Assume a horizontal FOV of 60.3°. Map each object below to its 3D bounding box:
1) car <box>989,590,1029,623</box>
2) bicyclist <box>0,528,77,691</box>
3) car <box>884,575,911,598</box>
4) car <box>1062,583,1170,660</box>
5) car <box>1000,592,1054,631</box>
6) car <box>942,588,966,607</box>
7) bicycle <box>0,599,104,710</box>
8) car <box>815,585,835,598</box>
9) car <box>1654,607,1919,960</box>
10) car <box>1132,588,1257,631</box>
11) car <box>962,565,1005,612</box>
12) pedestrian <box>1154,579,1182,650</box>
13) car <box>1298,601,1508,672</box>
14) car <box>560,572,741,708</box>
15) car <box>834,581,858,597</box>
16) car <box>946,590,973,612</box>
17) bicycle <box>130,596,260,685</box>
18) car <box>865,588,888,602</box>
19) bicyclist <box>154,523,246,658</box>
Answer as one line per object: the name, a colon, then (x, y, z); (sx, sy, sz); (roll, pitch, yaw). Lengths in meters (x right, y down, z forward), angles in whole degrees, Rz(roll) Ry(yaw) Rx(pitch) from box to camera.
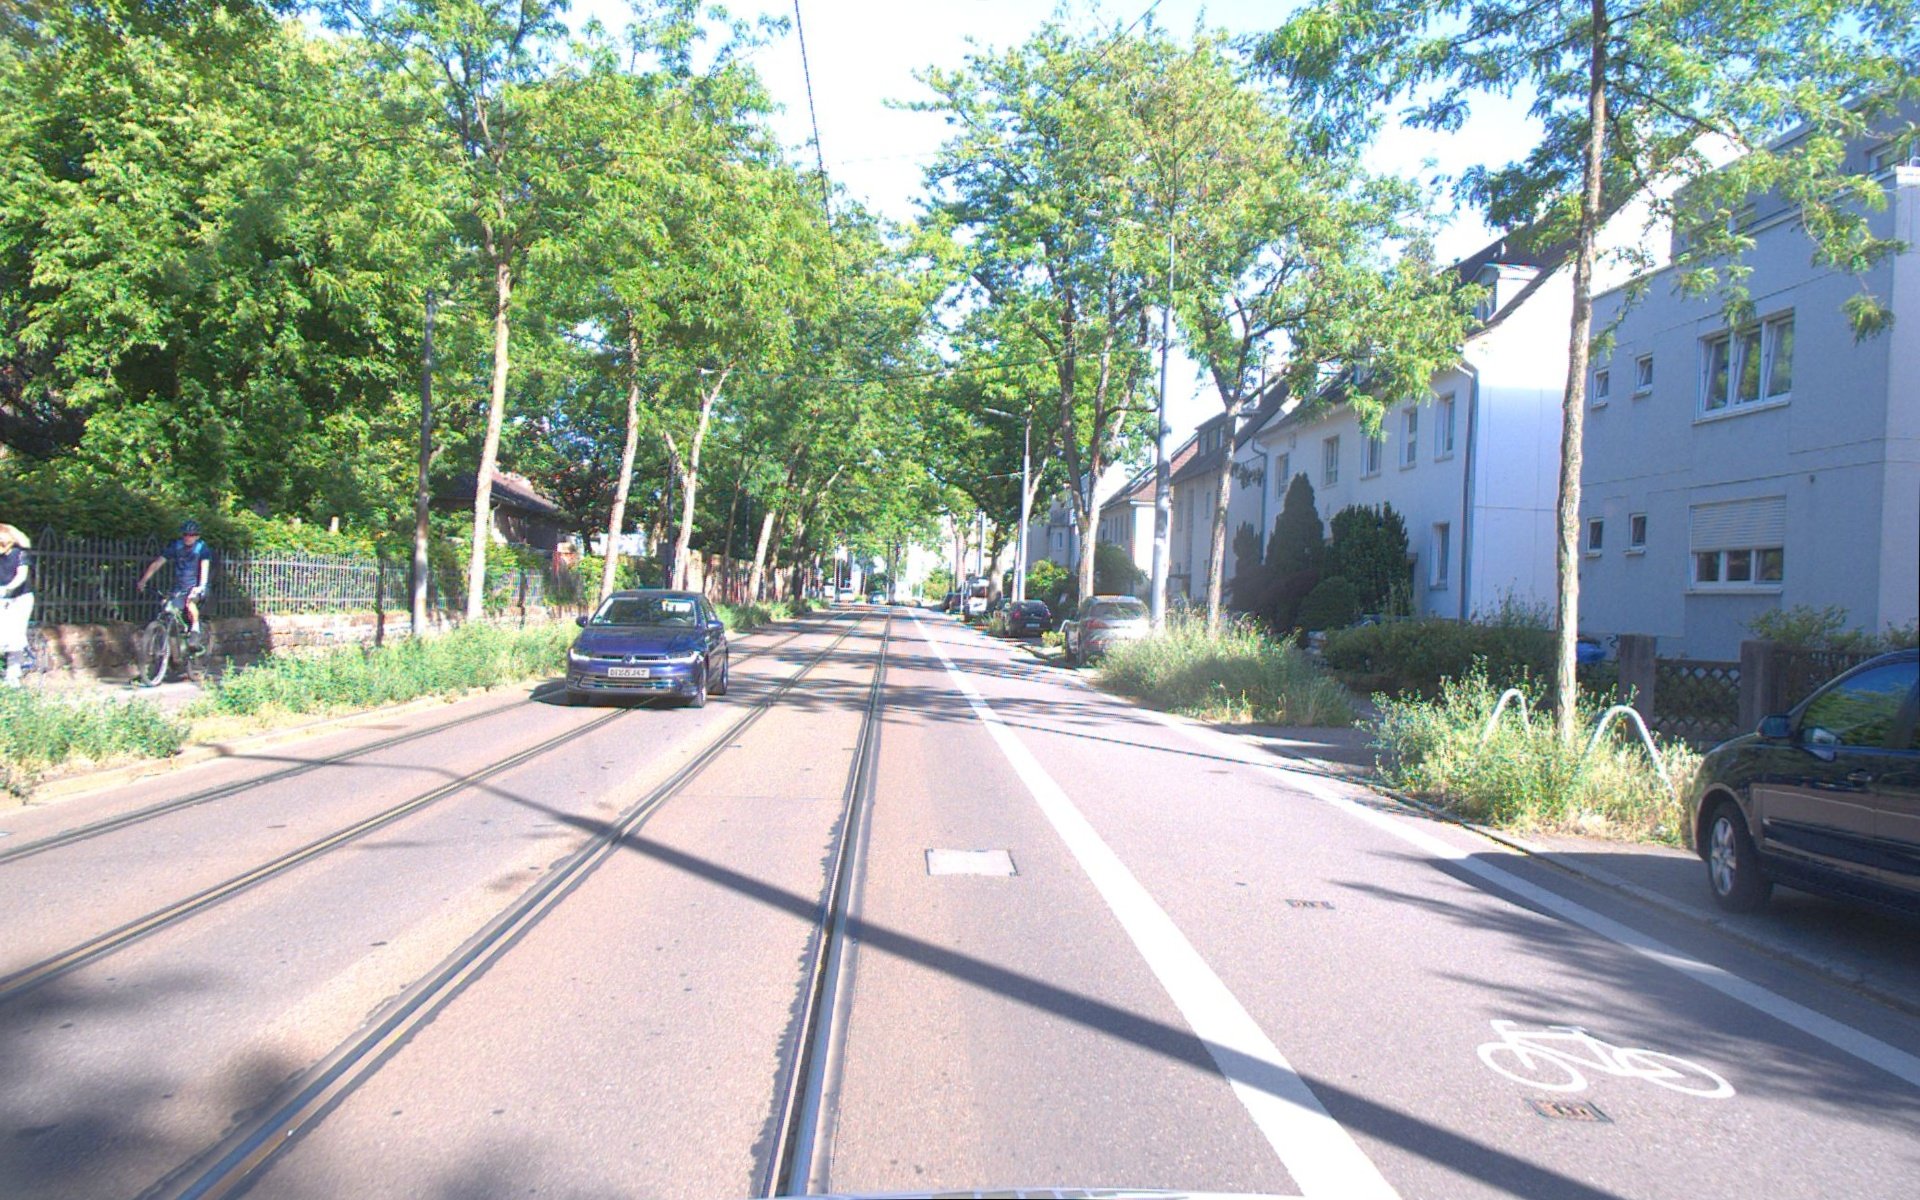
car: (2.234, 0.287, 76.258); (1.594, 1.422, 3.644); (-1, 1, -3)
bicyclist: (-9.088, 0.075, 15.812); (0.694, 1.496, 1.041); (2, 0, -1)
car: (-6.937, -1.528, 183.113); (1.960, 2.501, 4.491); (1, 0, -15)
car: (3.705, 0.471, 40.103); (1.954, 1.734, 4.474); (-1, 0, -3)
car: (2.667, 0.432, 66.694); (1.749, 1.473, 4.298); (-1, 1, -4)
car: (-0.501, -0.211, 147.237); (1.961, 1.704, 4.393); (0, 0, 1)
bicycle: (-9.105, 0.498, 15.875); (0.697, 0.977, 2.094); (2, 0, -1)
car: (-20.391, -1.223, 250.076); (1.973, 1.943, 4.367); (0, 0, -20)
car: (5.072, 0.838, 7.868); (1.713, 1.521, 3.995); (1, 0, -2)
car: (8.512, 0.337, 60.291); (4.330, 1.515, 1.858); (0, 0, 0)
car: (1.365, -0.697, 97.886); (2.200, 2.700, 5.582); (0, 0, -2)
pedestrian: (5.696, 0.392, 45.375); (0.613, 1.903, 0.731); (-1, 0, -3)
car: (9.498, 0.771, 35.685); (3.970, 1.366, 1.876); (2, 0, -3)
car: (-3.968, 0.474, 21.792); (1.713, 1.550, 4.068); (2, 0, -2)
car: (-12.996, -1.228, 188.140); (1.836, 1.704, 4.154); (1, 0, -16)
car: (-0.044, 0.034, 129.721); (1.963, 1.704, 4.390); (0, 0, -3)
bicycle: (-9.086, 0.461, 19.743); (0.577, 0.977, 2.132); (2, 0, -1)
car: (-10.122, -0.580, 200.666); (1.969, 1.588, 4.375); (2, 0, -14)
bicyclist: (-9.070, -0.114, 19.771); (0.581, 1.554, 1.061); (2, 0, -1)
